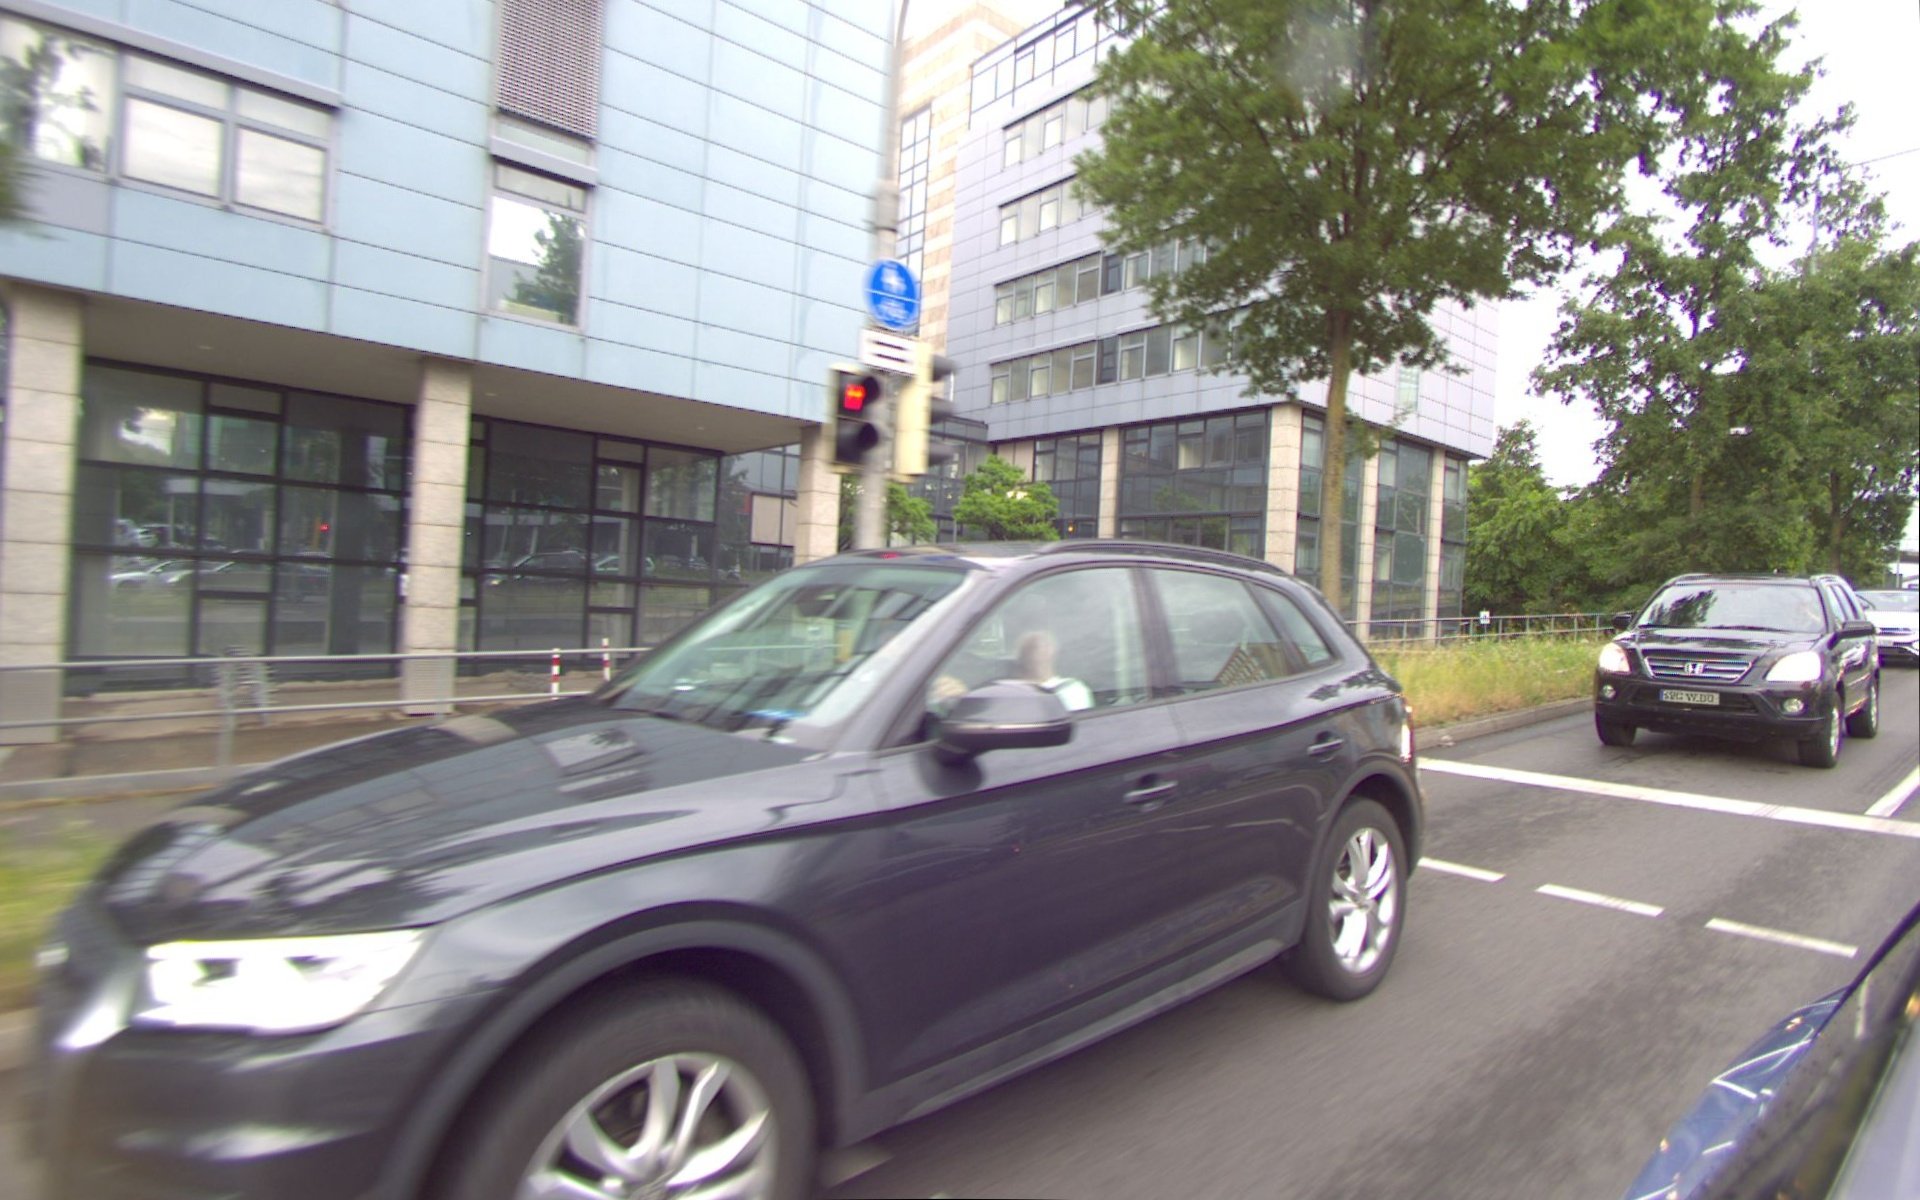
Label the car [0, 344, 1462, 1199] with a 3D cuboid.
[{"bbox_3d":[-0.231,0.514,3.282,4.294,1.691,1.815,0,1,-41],"label":"car"}]

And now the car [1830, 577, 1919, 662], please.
[{"bbox_3d":[19.089,0.357,20.335,4.035,1.562,1.871,0,1,-41],"label":"car"}]

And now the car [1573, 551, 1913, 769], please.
[{"bbox_3d":[7.866,0.448,10.001,4.469,1.691,1.815,0,1,-41],"label":"car"}]
